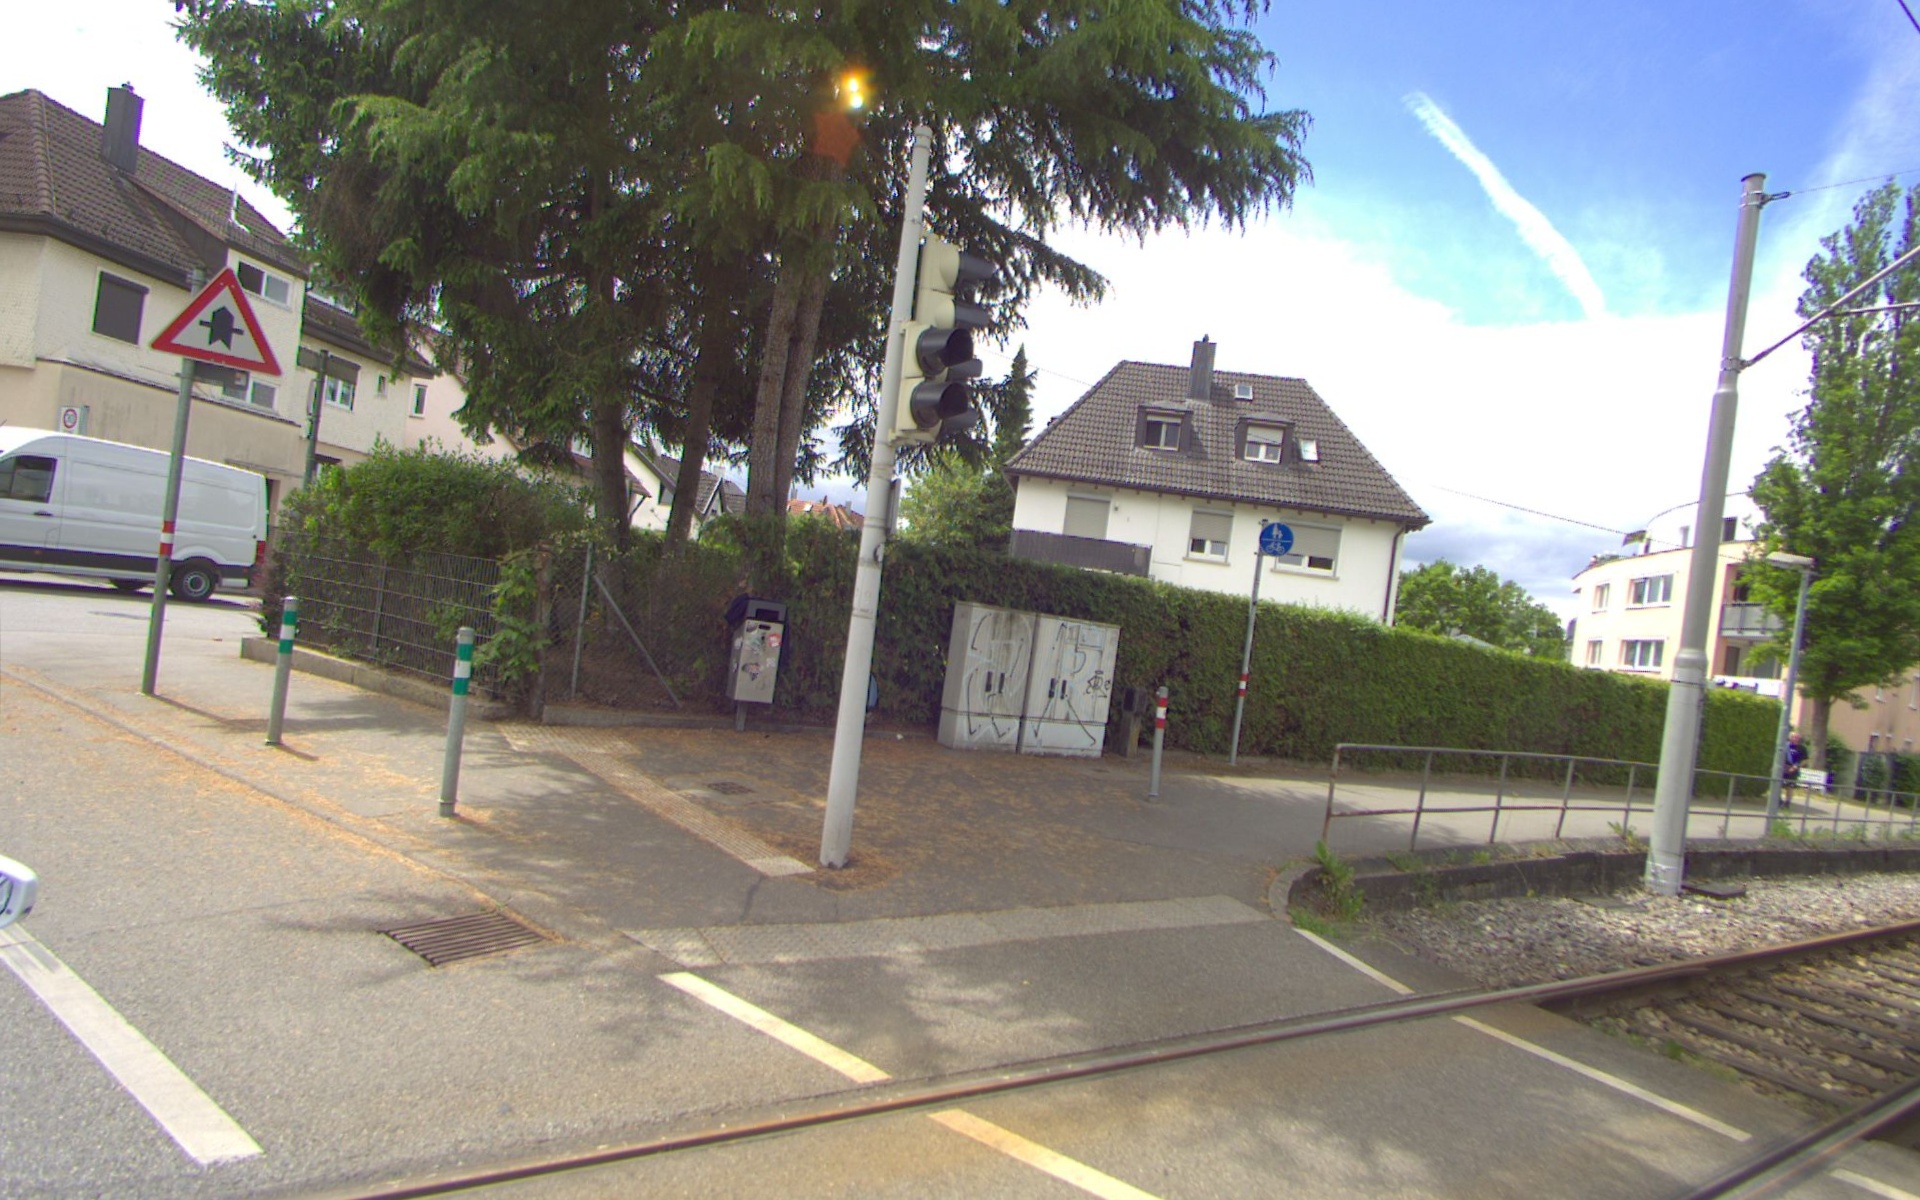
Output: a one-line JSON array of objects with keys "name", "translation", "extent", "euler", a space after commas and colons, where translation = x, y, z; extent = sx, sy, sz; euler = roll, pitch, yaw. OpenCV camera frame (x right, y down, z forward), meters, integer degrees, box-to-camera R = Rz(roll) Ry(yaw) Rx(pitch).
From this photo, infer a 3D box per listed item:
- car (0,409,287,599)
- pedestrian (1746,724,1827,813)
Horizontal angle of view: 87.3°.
[{"name": "car", "translation": [-15.005, -1.624, 16.823], "extent": [1.963, 2.612, 6.017], "euler": [8, 0, 20]}, {"name": "pedestrian", "translation": [17.663, 3.593, 21.504], "extent": [0.910, 1.707, 0.925], "euler": [7, 1, -30]}]
